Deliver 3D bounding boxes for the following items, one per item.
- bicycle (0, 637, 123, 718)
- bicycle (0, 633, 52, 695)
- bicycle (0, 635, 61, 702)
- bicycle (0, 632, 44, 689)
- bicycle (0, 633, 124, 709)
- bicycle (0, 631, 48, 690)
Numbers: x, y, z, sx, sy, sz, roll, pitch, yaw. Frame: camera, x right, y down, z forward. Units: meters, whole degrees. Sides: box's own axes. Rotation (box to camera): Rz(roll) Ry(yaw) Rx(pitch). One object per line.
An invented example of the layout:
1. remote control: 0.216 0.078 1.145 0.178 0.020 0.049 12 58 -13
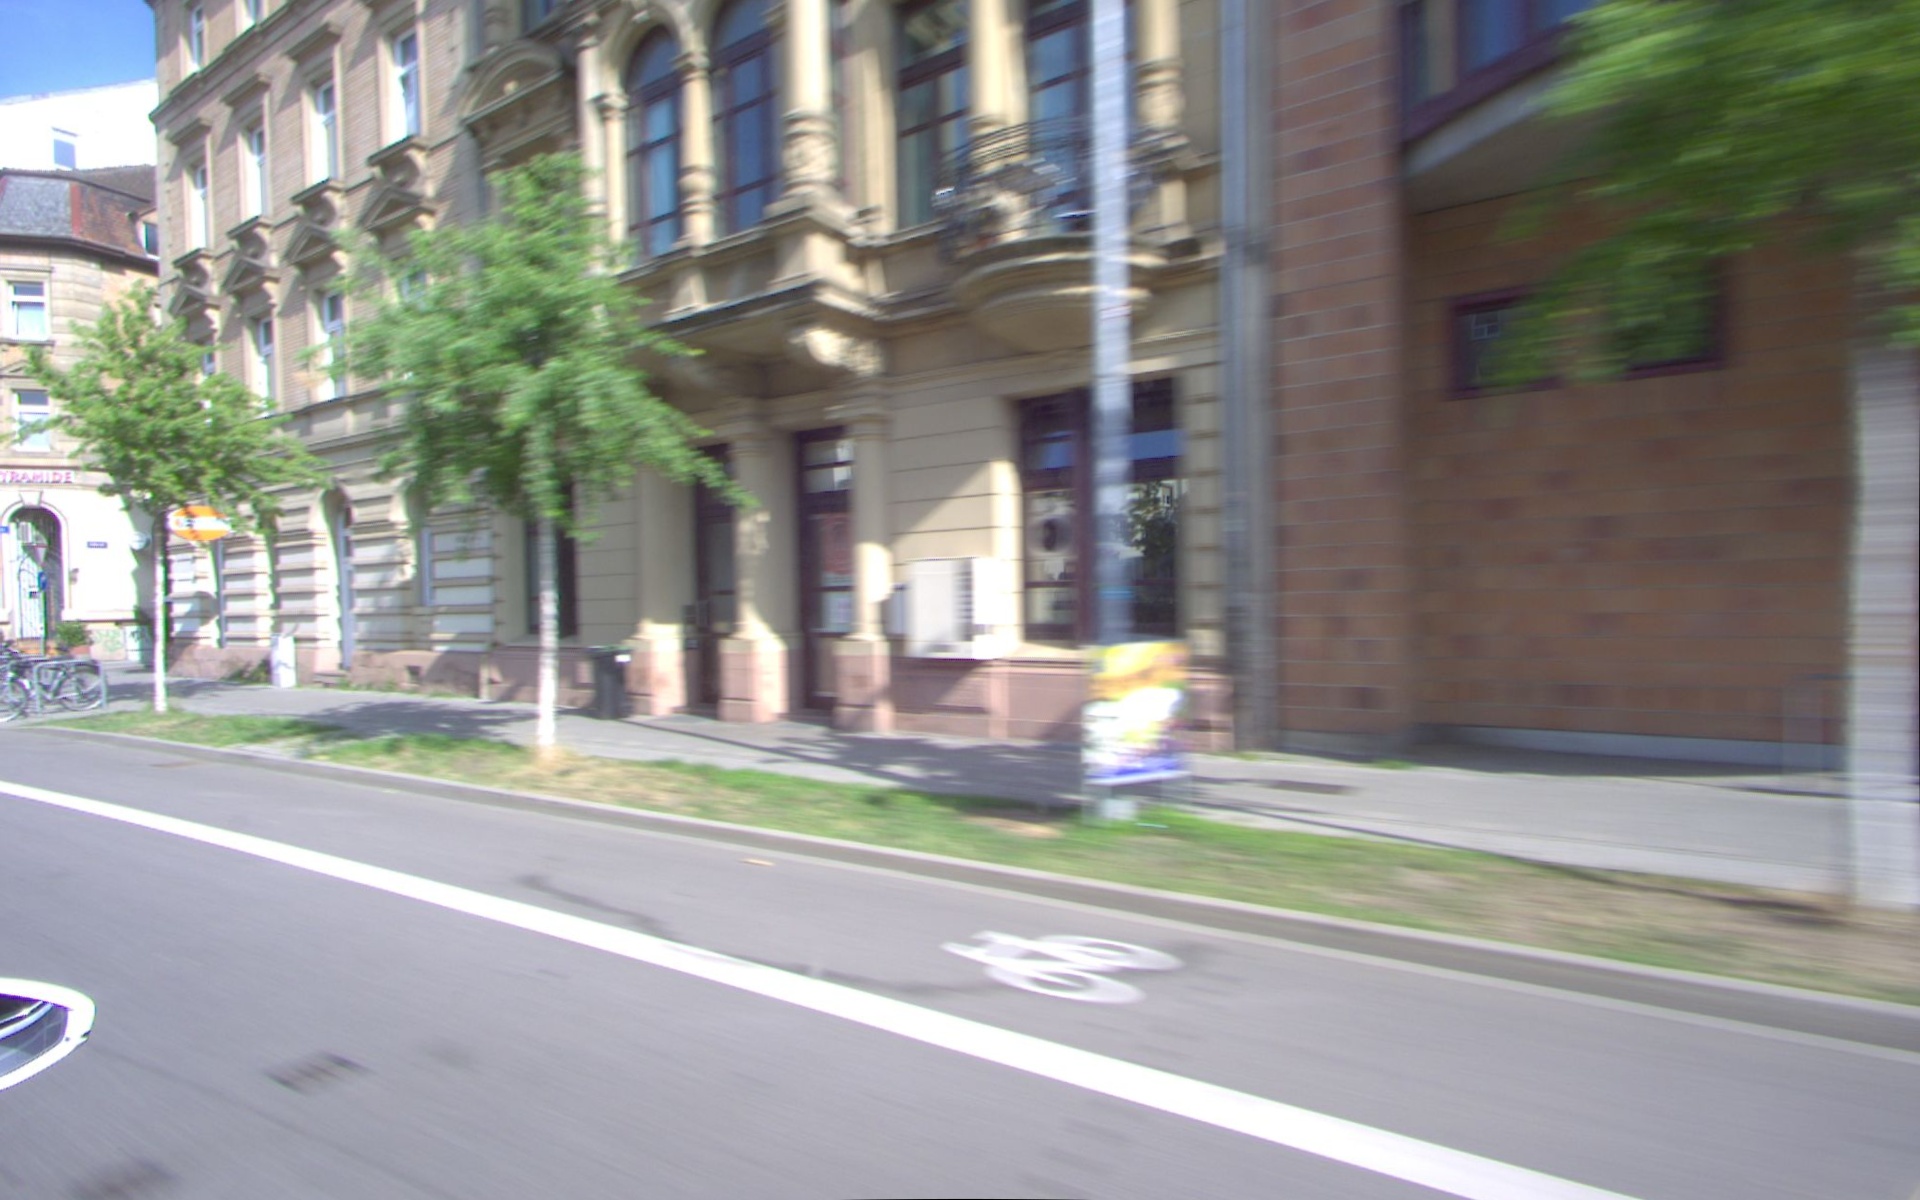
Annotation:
1. bicycle: -14.827 1.236 16.244 0.601 1.103 1.754 -1 3 24
2. bicycle: -18.247 1.231 18.726 0.660 1.102 1.747 0 3 39
3. bicycle: -17.220 1.258 17.789 0.660 1.102 1.758 -2 3 11
4. bicycle: -19.581 1.243 20.029 0.575 1.102 1.745 0 3 37
5. bicycle: -15.857 1.213 17.490 0.647 1.103 1.754 -1 3 24
6. bicycle: -19.134 1.225 19.630 0.575 1.102 1.745 0 3 37
